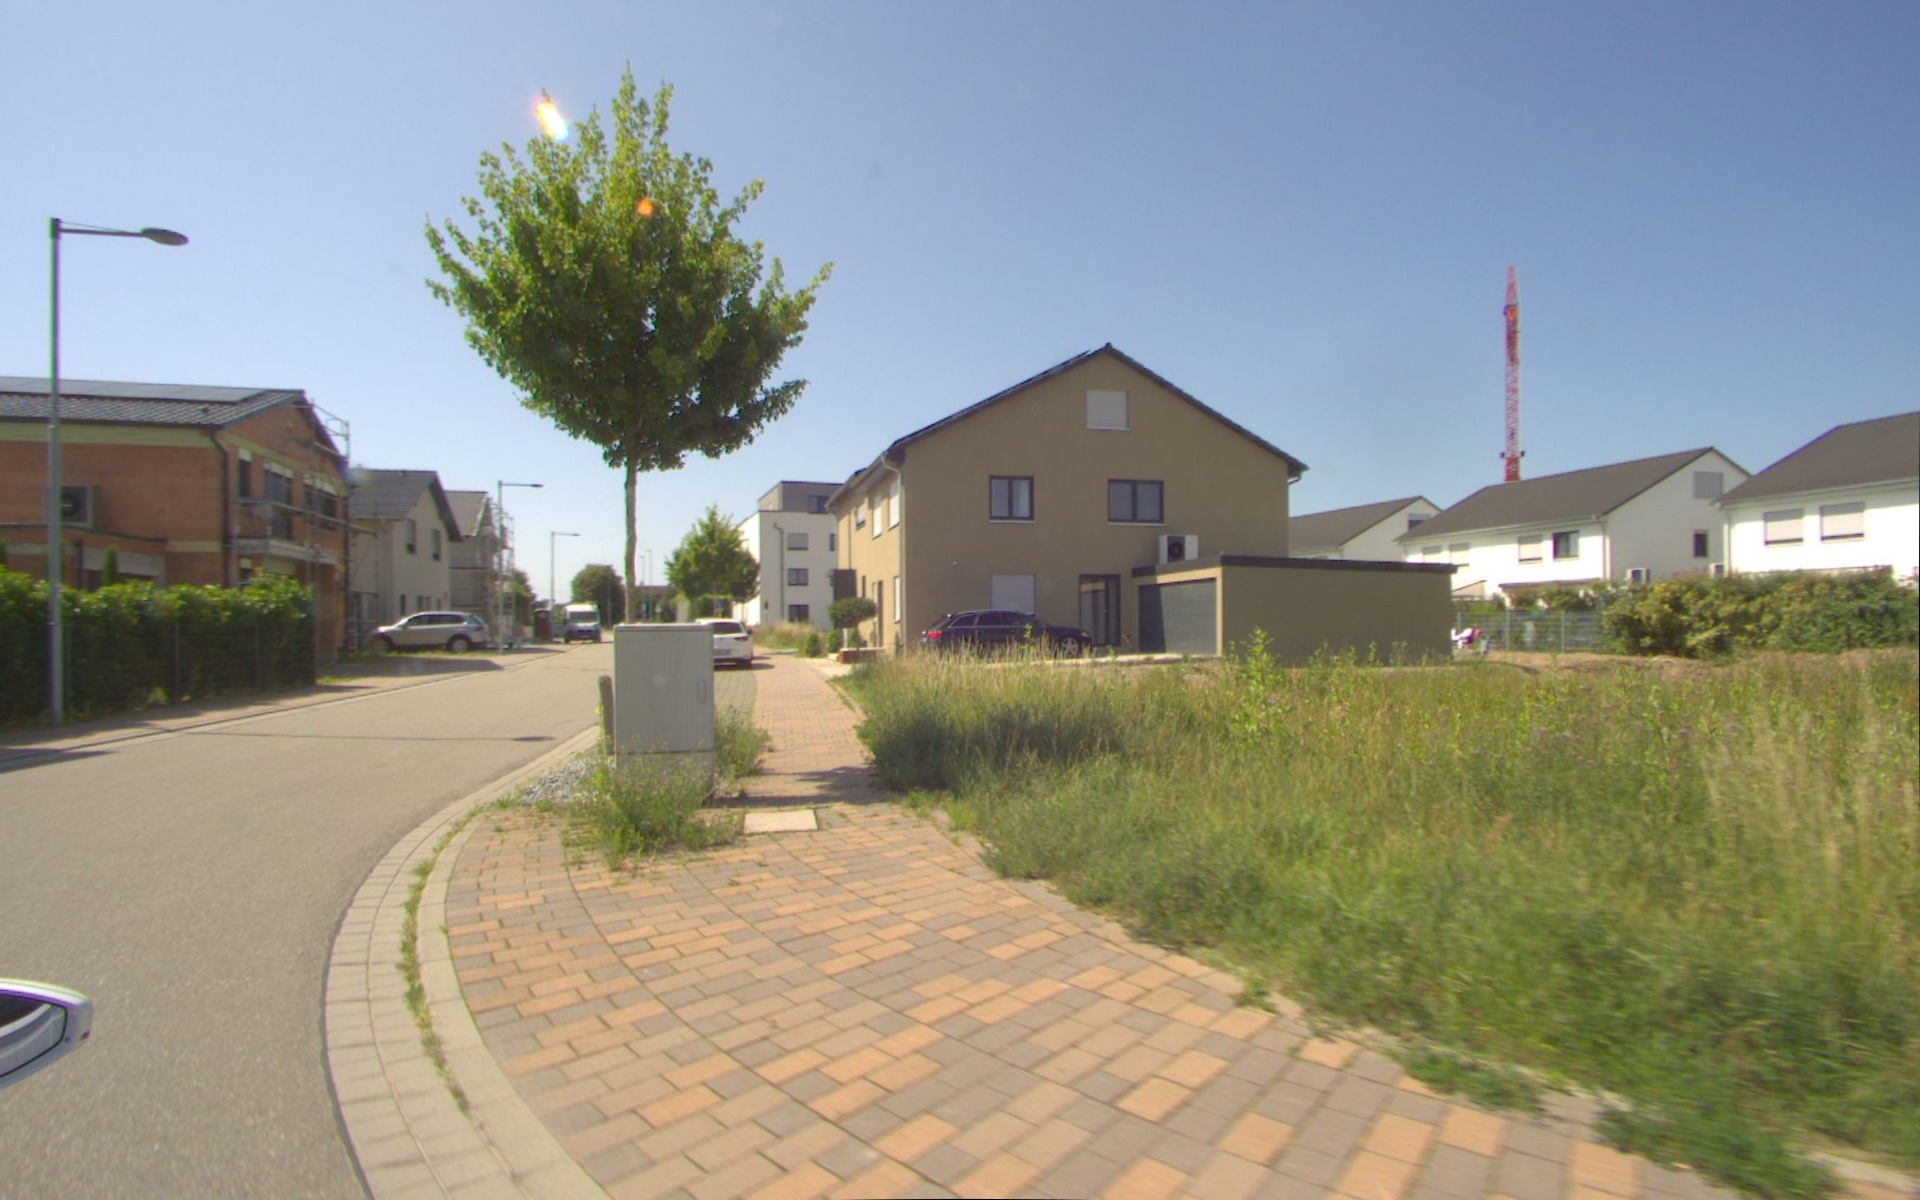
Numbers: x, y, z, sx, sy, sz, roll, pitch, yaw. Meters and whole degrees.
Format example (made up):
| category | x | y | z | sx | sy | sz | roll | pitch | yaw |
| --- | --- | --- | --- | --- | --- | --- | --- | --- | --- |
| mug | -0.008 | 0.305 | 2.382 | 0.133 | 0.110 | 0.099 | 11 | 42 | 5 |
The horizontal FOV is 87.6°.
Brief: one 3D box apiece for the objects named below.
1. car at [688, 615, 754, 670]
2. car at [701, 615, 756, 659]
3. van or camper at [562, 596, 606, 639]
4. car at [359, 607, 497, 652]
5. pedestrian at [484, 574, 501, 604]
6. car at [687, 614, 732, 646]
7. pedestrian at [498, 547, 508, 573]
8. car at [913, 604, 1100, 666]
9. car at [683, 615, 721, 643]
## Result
| category | x | y | z | sx | sy | sz | roll | pitch | yaw |
| --- | --- | --- | --- | --- | --- | --- | --- | --- | --- |
| car | -7.248 | 1.227 | 30.381 | 1.787 | 1.475 | 4.559 | -1 | -1 | -14 |
| car | -8.517 | 1.293 | 36.579 | 1.753 | 1.445 | 4.507 | -1 | 0 | -15 |
| van or camper | -24.141 | 1.172 | 64.206 | 2.244 | 2.586 | 6.347 | 0 | -2 | -24 |
| car | -20.305 | 1.117 | 38.417 | 4.361 | 1.633 | 1.996 | 0 | 0 | -18 |
| pedestrian | -27.329 | -0.627 | 58.524 | 0.570 | 1.701 | 0.745 | -2 | -2 | 30 |
| car | -13.036 | 1.513 | 51.893 | 1.891 | 1.531 | 5.283 | -1 | 0 | -18 |
| pedestrian | -28.674 | -2.495 | 62.807 | 0.554 | 1.518 | 0.746 | 0 | -2 | -24 |
| car | 1.248 | 0.937 | 27.882 | 4.812 | 1.445 | 1.998 | -2 | 0 | -12 |
| car | -14.896 | 1.627 | 57.658 | 1.890 | 1.489 | 5.130 | -1 | 0 | -16 |
